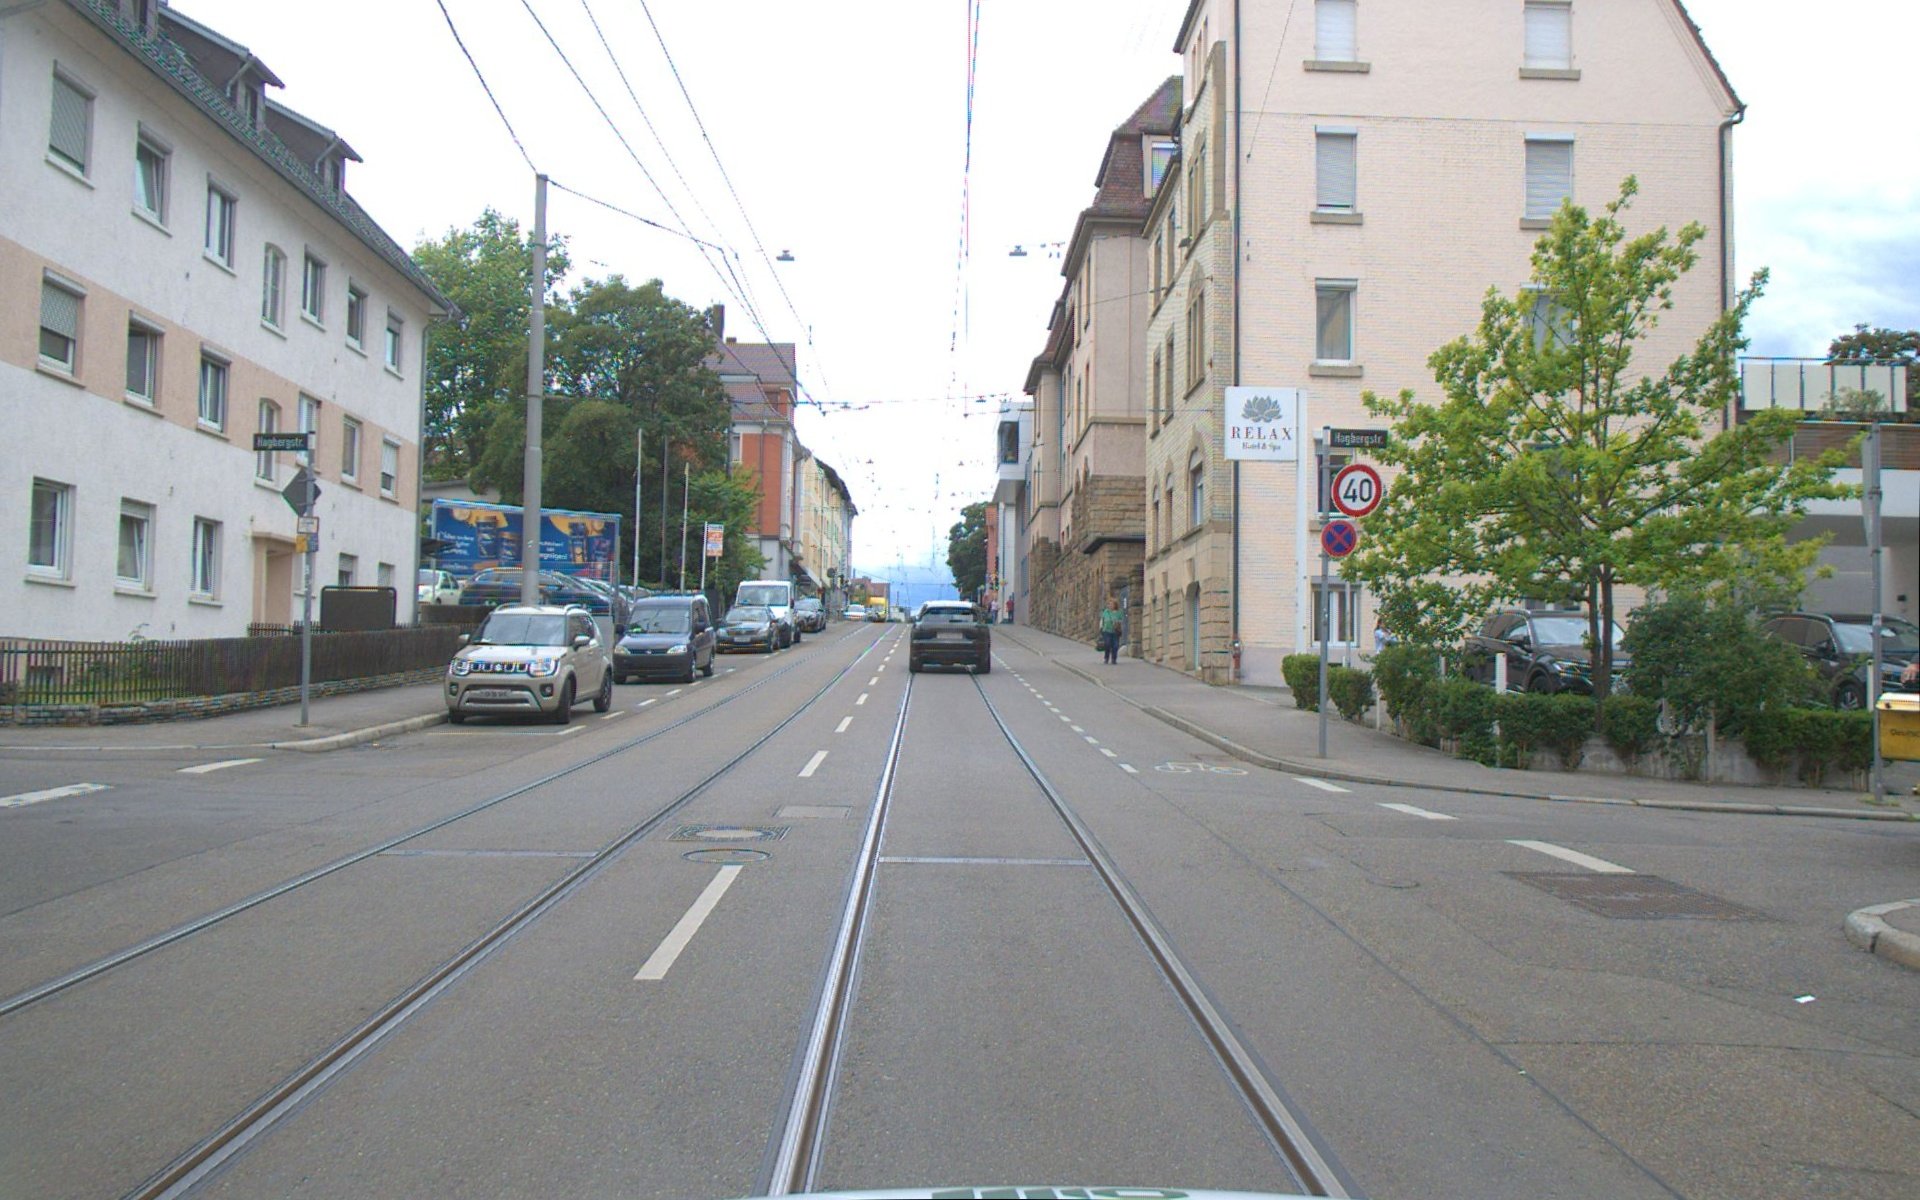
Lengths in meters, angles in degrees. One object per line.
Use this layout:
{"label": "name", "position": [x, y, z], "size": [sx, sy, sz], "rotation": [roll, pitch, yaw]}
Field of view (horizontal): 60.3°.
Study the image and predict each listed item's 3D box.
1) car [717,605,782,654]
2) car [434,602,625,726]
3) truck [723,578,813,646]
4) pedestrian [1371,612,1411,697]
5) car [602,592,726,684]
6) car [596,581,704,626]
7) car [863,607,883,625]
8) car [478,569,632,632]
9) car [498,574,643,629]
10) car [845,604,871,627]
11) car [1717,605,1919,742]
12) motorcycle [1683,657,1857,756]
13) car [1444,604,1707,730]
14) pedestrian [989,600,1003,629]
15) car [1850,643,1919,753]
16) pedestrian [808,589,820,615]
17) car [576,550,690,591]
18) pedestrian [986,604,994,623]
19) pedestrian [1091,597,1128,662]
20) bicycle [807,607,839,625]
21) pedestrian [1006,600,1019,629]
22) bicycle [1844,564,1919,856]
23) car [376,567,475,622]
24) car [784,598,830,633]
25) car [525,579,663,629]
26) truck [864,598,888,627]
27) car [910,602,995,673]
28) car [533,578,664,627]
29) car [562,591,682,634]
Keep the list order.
{"label": "car", "position": [-6.673, 0.898, 52.722], "size": [1.663, 1.458, 4.479], "rotation": [-1, 0, -3]}
{"label": "car", "position": [-6.012, 0.844, 23.524], "size": [1.662, 1.583, 3.850], "rotation": [1, 0, 0]}
{"label": "truck", "position": [-6.772, 0.394, 59.240], "size": [2.233, 2.226, 8.024], "rotation": [1, 0, 0]}
{"label": "pedestrian", "position": [8.285, 1.035, 31.798], "size": [0.547, 1.610, 0.685], "rotation": [1, 0, -1]}
{"label": "car", "position": [-6.074, 0.740, 34.373], "size": [1.708, 1.766, 4.519], "rotation": [-1, 0, 0]}
{"label": "car", "position": [-11.753, 0.130, 62.660], "size": [3.895, 1.578, 1.681], "rotation": [1, 0, -16]}
{"label": "car", "position": [-8.410, 1.535, 160.317], "size": [1.817, 1.635, 4.296], "rotation": [1, 0, -1]}
{"label": "car", "position": [-11.675, 0.014, 47.868], "size": [3.978, 1.579, 1.687], "rotation": [3, 0, -2]}
{"label": "car", "position": [-11.775, 0.042, 50.149], "size": [3.978, 1.550, 1.738], "rotation": [1, 0, -2]}
{"label": "car", "position": [-7.861, 1.181, 127.773], "size": [1.817, 1.635, 4.296], "rotation": [1, 0, -1]}
{"label": "car", "position": [14.148, 1.084, 26.213], "size": [1.954, 1.945, 4.701], "rotation": [1, 0, -3]}
{"label": "motorcycle", "position": [9.941, 1.327, 20.429], "size": [0.908, 1.124, 2.383], "rotation": [2, -4, -2]}
{"label": "car", "position": [9.346, 0.948, 25.660], "size": [1.954, 1.712, 5.092], "rotation": [1, 0, -3]}
{"label": "pedestrian", "position": [2.185, 0.876, 100.299], "size": [0.775, 1.696, 0.799], "rotation": [1, 0, 1]}
{"label": "car", "position": [13.649, 1.383, 21.323], "size": [1.872, 1.377, 4.325], "rotation": [2, 2, -2]}
{"label": "pedestrian", "position": [-9.931, 0.133, 112.332], "size": [0.759, 1.807, 0.650], "rotation": [1, 0, 0]}
{"label": "car", "position": [-11.840, -1.042, 60.043], "size": [3.798, 1.381, 1.687], "rotation": [1, 0, -2]}
{"label": "pedestrian", "position": [2.727, 1.187, 150.393], "size": [0.775, 1.696, 0.799], "rotation": [1, 0, 1]}
{"label": "pedestrian", "position": [3.982, 0.782, 44.088], "size": [0.853, 1.715, 0.663], "rotation": [-1, 0, -3]}
{"label": "bicycle", "position": [-8.126, 0.945, 98.093], "size": [1.872, 1.017, 0.479], "rotation": [1, 0, -1]}
{"label": "pedestrian", "position": [3.185, 0.876, 100.272], "size": [0.775, 1.696, 0.799], "rotation": [1, 0, 1]}
{"label": "bicycle", "position": [7.262, 0.798, 11.738], "size": [1.161, 1.899, 2.714], "rotation": [1, -2, 40]}
{"label": "car", "position": [-15.724, -0.152, 48.831], "size": [1.648, 1.520, 3.888], "rotation": [1, 0, 0]}
{"label": "car", "position": [-6.831, 0.668, 74.056], "size": [1.677, 1.472, 4.289], "rotation": [1, 0, -1]}
{"label": "car", "position": [-11.602, 0.125, 52.587], "size": [3.978, 1.470, 1.687], "rotation": [1, 0, -2]}
{"label": "truck", "position": [-9.144, 1.367, 180.756], "size": [2.256, 3.090, 9.031], "rotation": [1, 0, -1]}
{"label": "car", "position": [-0.186, 0.877, 40.645], "size": [1.953, 1.590, 4.289], "rotation": [1, 0, -1]}
{"label": "car", "position": [-11.990, 0.097, 55.018], "size": [3.978, 1.520, 1.687], "rotation": [1, 0, -2]}
{"label": "car", "position": [-11.692, 0.432, 57.378], "size": [3.798, 1.381, 1.687], "rotation": [1, 0, -2]}
